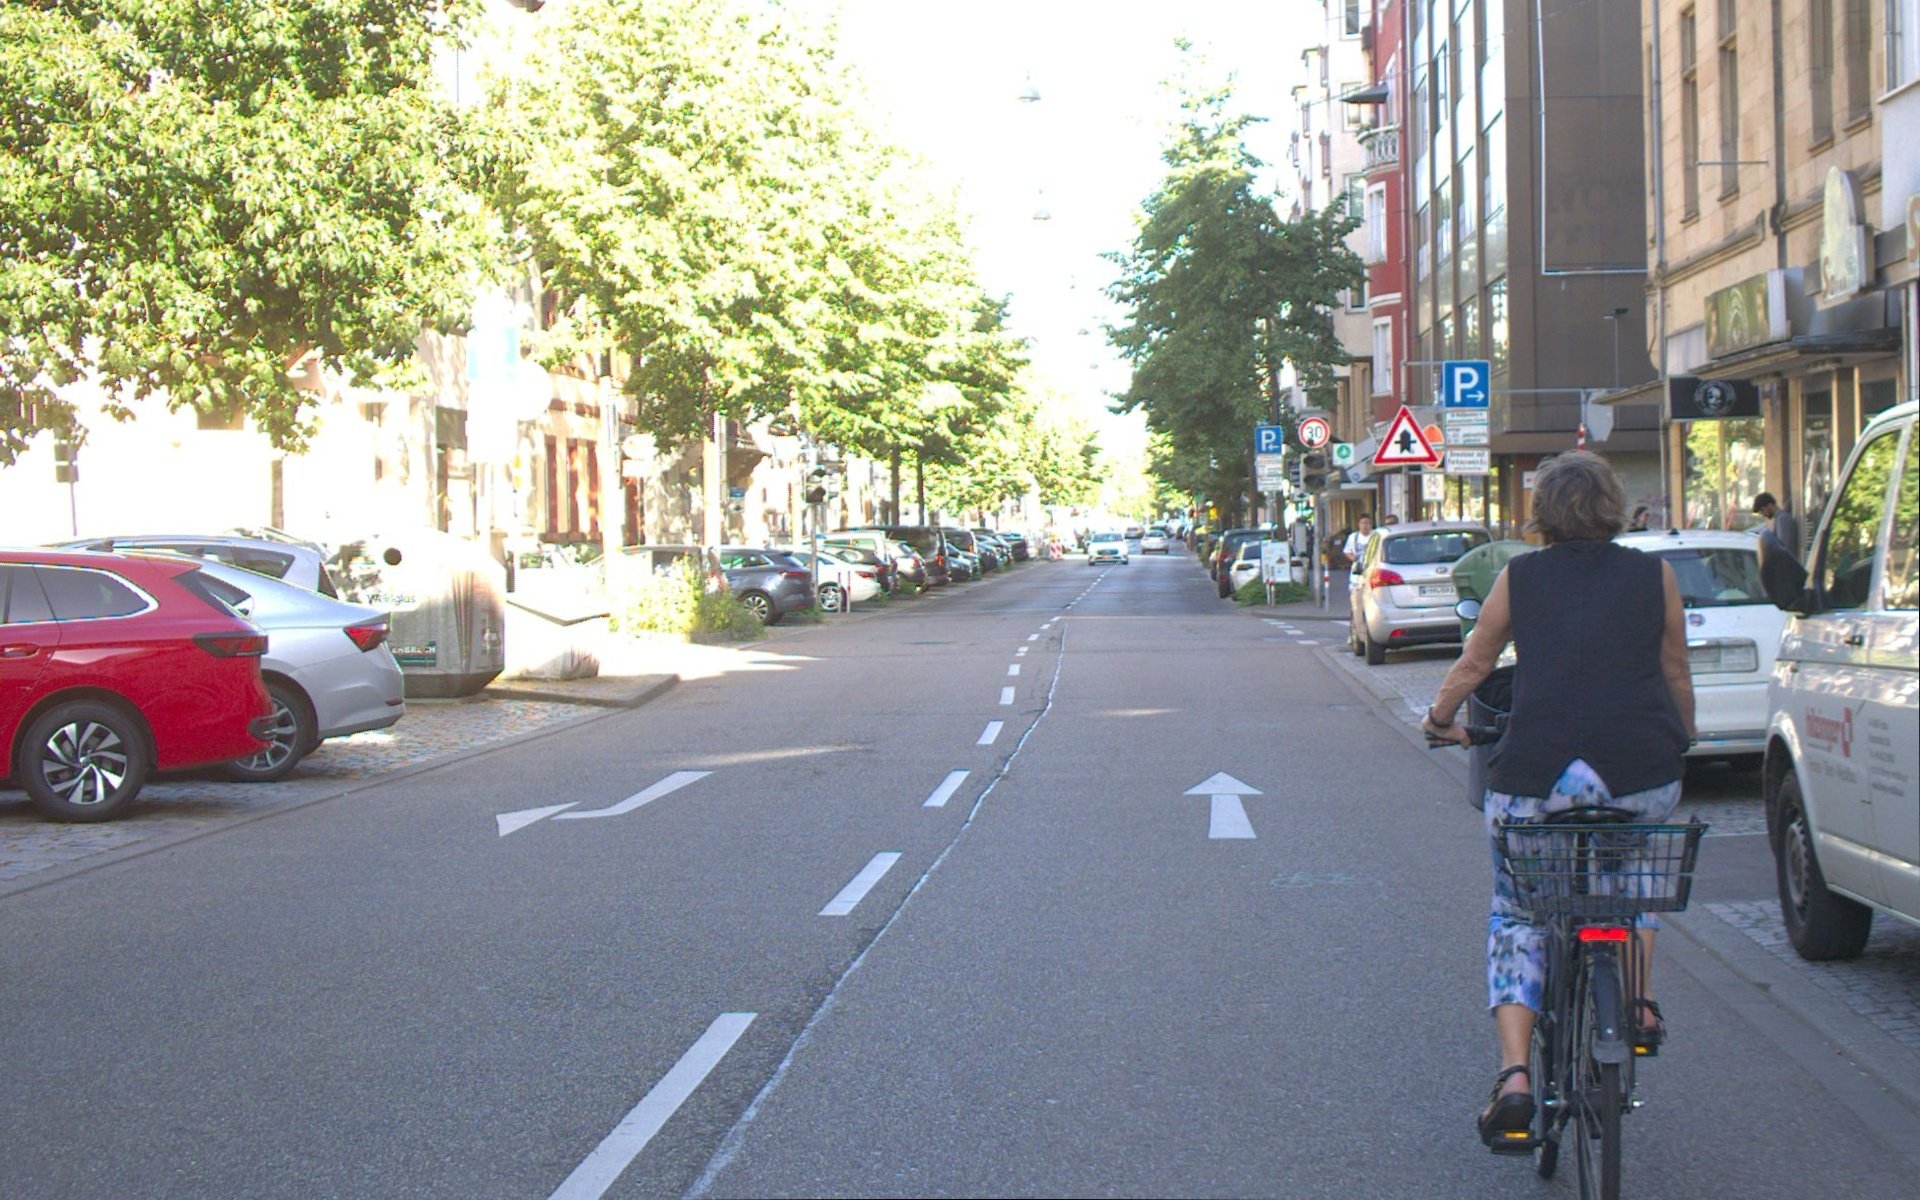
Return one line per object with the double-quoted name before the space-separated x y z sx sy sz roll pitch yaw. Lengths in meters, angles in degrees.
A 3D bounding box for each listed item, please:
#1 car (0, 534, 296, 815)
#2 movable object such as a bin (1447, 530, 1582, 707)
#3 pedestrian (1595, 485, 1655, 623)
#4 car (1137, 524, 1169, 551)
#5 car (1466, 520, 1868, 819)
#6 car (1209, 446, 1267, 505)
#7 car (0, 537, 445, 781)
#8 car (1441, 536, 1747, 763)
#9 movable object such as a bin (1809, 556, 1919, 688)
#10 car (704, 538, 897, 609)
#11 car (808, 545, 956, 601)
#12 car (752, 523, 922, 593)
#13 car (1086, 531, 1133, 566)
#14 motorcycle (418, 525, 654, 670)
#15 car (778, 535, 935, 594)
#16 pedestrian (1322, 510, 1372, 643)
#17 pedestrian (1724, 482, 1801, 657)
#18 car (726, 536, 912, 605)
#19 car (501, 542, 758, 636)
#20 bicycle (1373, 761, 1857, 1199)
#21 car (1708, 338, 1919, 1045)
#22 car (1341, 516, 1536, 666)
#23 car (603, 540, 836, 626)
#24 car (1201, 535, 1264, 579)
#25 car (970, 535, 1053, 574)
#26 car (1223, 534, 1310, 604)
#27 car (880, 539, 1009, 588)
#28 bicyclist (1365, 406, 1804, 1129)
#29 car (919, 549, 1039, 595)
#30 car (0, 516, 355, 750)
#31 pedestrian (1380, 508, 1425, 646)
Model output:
"car" -6.184 0.382 18.665 4.833 1.483 1.765 1 0 -20
"movable object such as a bin" 4.908 0.150 30.482 1.074 1.452 1.492 -3 1 9
"pedestrian" 9.111 -0.625 47.065 0.646 1.865 0.626 1 0 26
"car" 11.858 -3.841 210.776 1.870 1.550 3.999 1 0 4
"car" 4.025 0.371 20.084 1.718 1.510 3.582 -3 0 3
"car" 10.218 -4.562 126.554 1.994 2.007 4.000 -2 1 3
"car" -5.567 0.359 21.793 4.220 1.472 1.736 1 0 -24
"car" 4.340 0.316 24.000 1.678 1.443 3.784 1 0 4
"movable object such as a bin" 7.913 0.187 29.895 0.876 1.119 0.828 1 0 4
"car" -3.483 -0.583 75.489 3.987 1.503 2.000 1 0 5
"car" -2.160 -0.751 96.138 3.987 1.503 2.000 1 0 4
"car" -3.029 -1.041 85.345 3.987 1.668 2.089 1 0 5
"car" 6.901 -2.375 158.341 1.994 1.550 3.999 1 0 4
"motorcycle" -4.860 -0.030 39.395 2.475 1.599 0.998 -1 1 22
"car" -2.745 -0.945 91.545 3.987 1.503 1.894 1 0 5
"pedestrian" 5.094 -0.312 45.248 0.614 1.729 0.634 1 0 5
"pedestrian" 8.337 -0.310 35.741 0.608 1.782 0.683 -2 0 3
"car" -3.161 -0.666 77.821 3.987 1.503 2.000 1 0 5
"car" -5.488 -0.194 57.413 3.987 1.503 2.000 1 0 5
"bicycle" 1.322 0.896 7.444 0.652 0.955 2.698 1 0 3
"car" 3.731 0.238 10.365 1.993 1.998 5.117 -1 1 2
"car" 5.657 -0.105 41.149 1.899 1.669 4.824 1 0 3
"car" -4.363 -0.320 62.809 3.987 1.503 2.000 1 0 5
"car" 9.054 -1.438 114.553 1.994 1.448 4.000 0 1 3
"car" 2.662 -2.341 177.836 3.989 2.007 1.999 0 1 14
"car" 7.356 -0.721 82.300 1.994 1.612 4.009 1 0 6
"car" -0.494 -1.195 113.401 3.988 1.503 1.999 2 0 7
"bicyclist" 1.324 0.335 7.489 0.786 1.448 1.095 1 0 3
"car" 0.689 -0.975 121.091 3.988 1.503 1.999 2 0 7
"car" -6.464 0.223 24.229 3.986 1.580 1.831 1 0 -24
"pedestrian" 5.756 -0.301 44.725 0.512 1.774 0.612 1 0 2
